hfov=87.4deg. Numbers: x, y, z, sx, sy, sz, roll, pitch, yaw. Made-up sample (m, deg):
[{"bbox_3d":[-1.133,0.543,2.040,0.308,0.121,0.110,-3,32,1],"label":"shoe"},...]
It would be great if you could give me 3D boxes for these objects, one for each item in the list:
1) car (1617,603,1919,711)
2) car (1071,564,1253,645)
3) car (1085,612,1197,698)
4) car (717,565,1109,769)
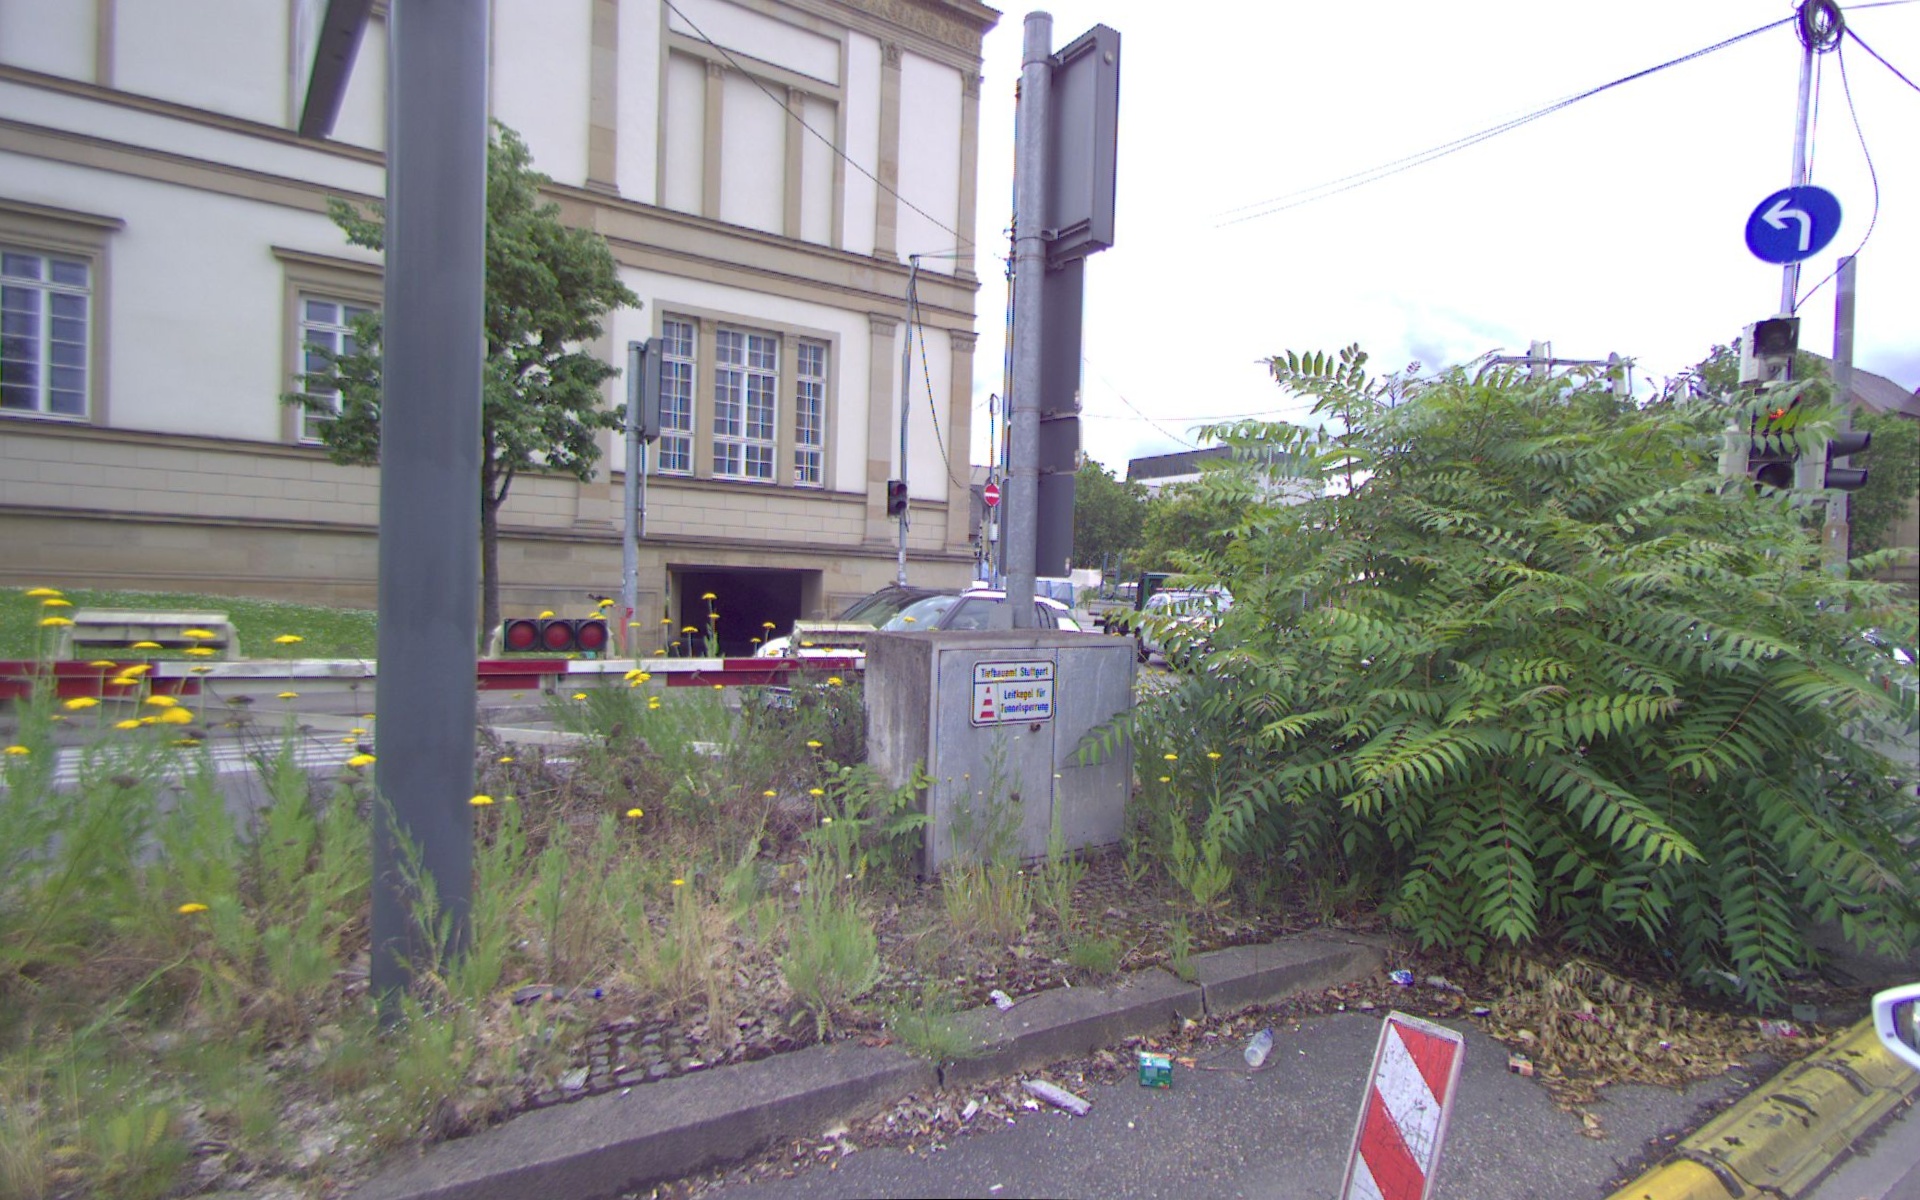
[{"bbox_3d":[14.870,0.934,18.215,1.663,1.646,4.684,2,0,-32],"label":"car"},{"bbox_3d":[6.292,0.135,32.059,2.280,2.336,5.723,2,0,-34],"label":"car"},{"bbox_3d":[3.876,1.127,22.201,1.867,1.647,4.108,1,0,2],"label":"car"},{"bbox_3d":[-0.280,0.583,10.666,1.846,1.714,4.251,2,0,37],"label":"car"}]
